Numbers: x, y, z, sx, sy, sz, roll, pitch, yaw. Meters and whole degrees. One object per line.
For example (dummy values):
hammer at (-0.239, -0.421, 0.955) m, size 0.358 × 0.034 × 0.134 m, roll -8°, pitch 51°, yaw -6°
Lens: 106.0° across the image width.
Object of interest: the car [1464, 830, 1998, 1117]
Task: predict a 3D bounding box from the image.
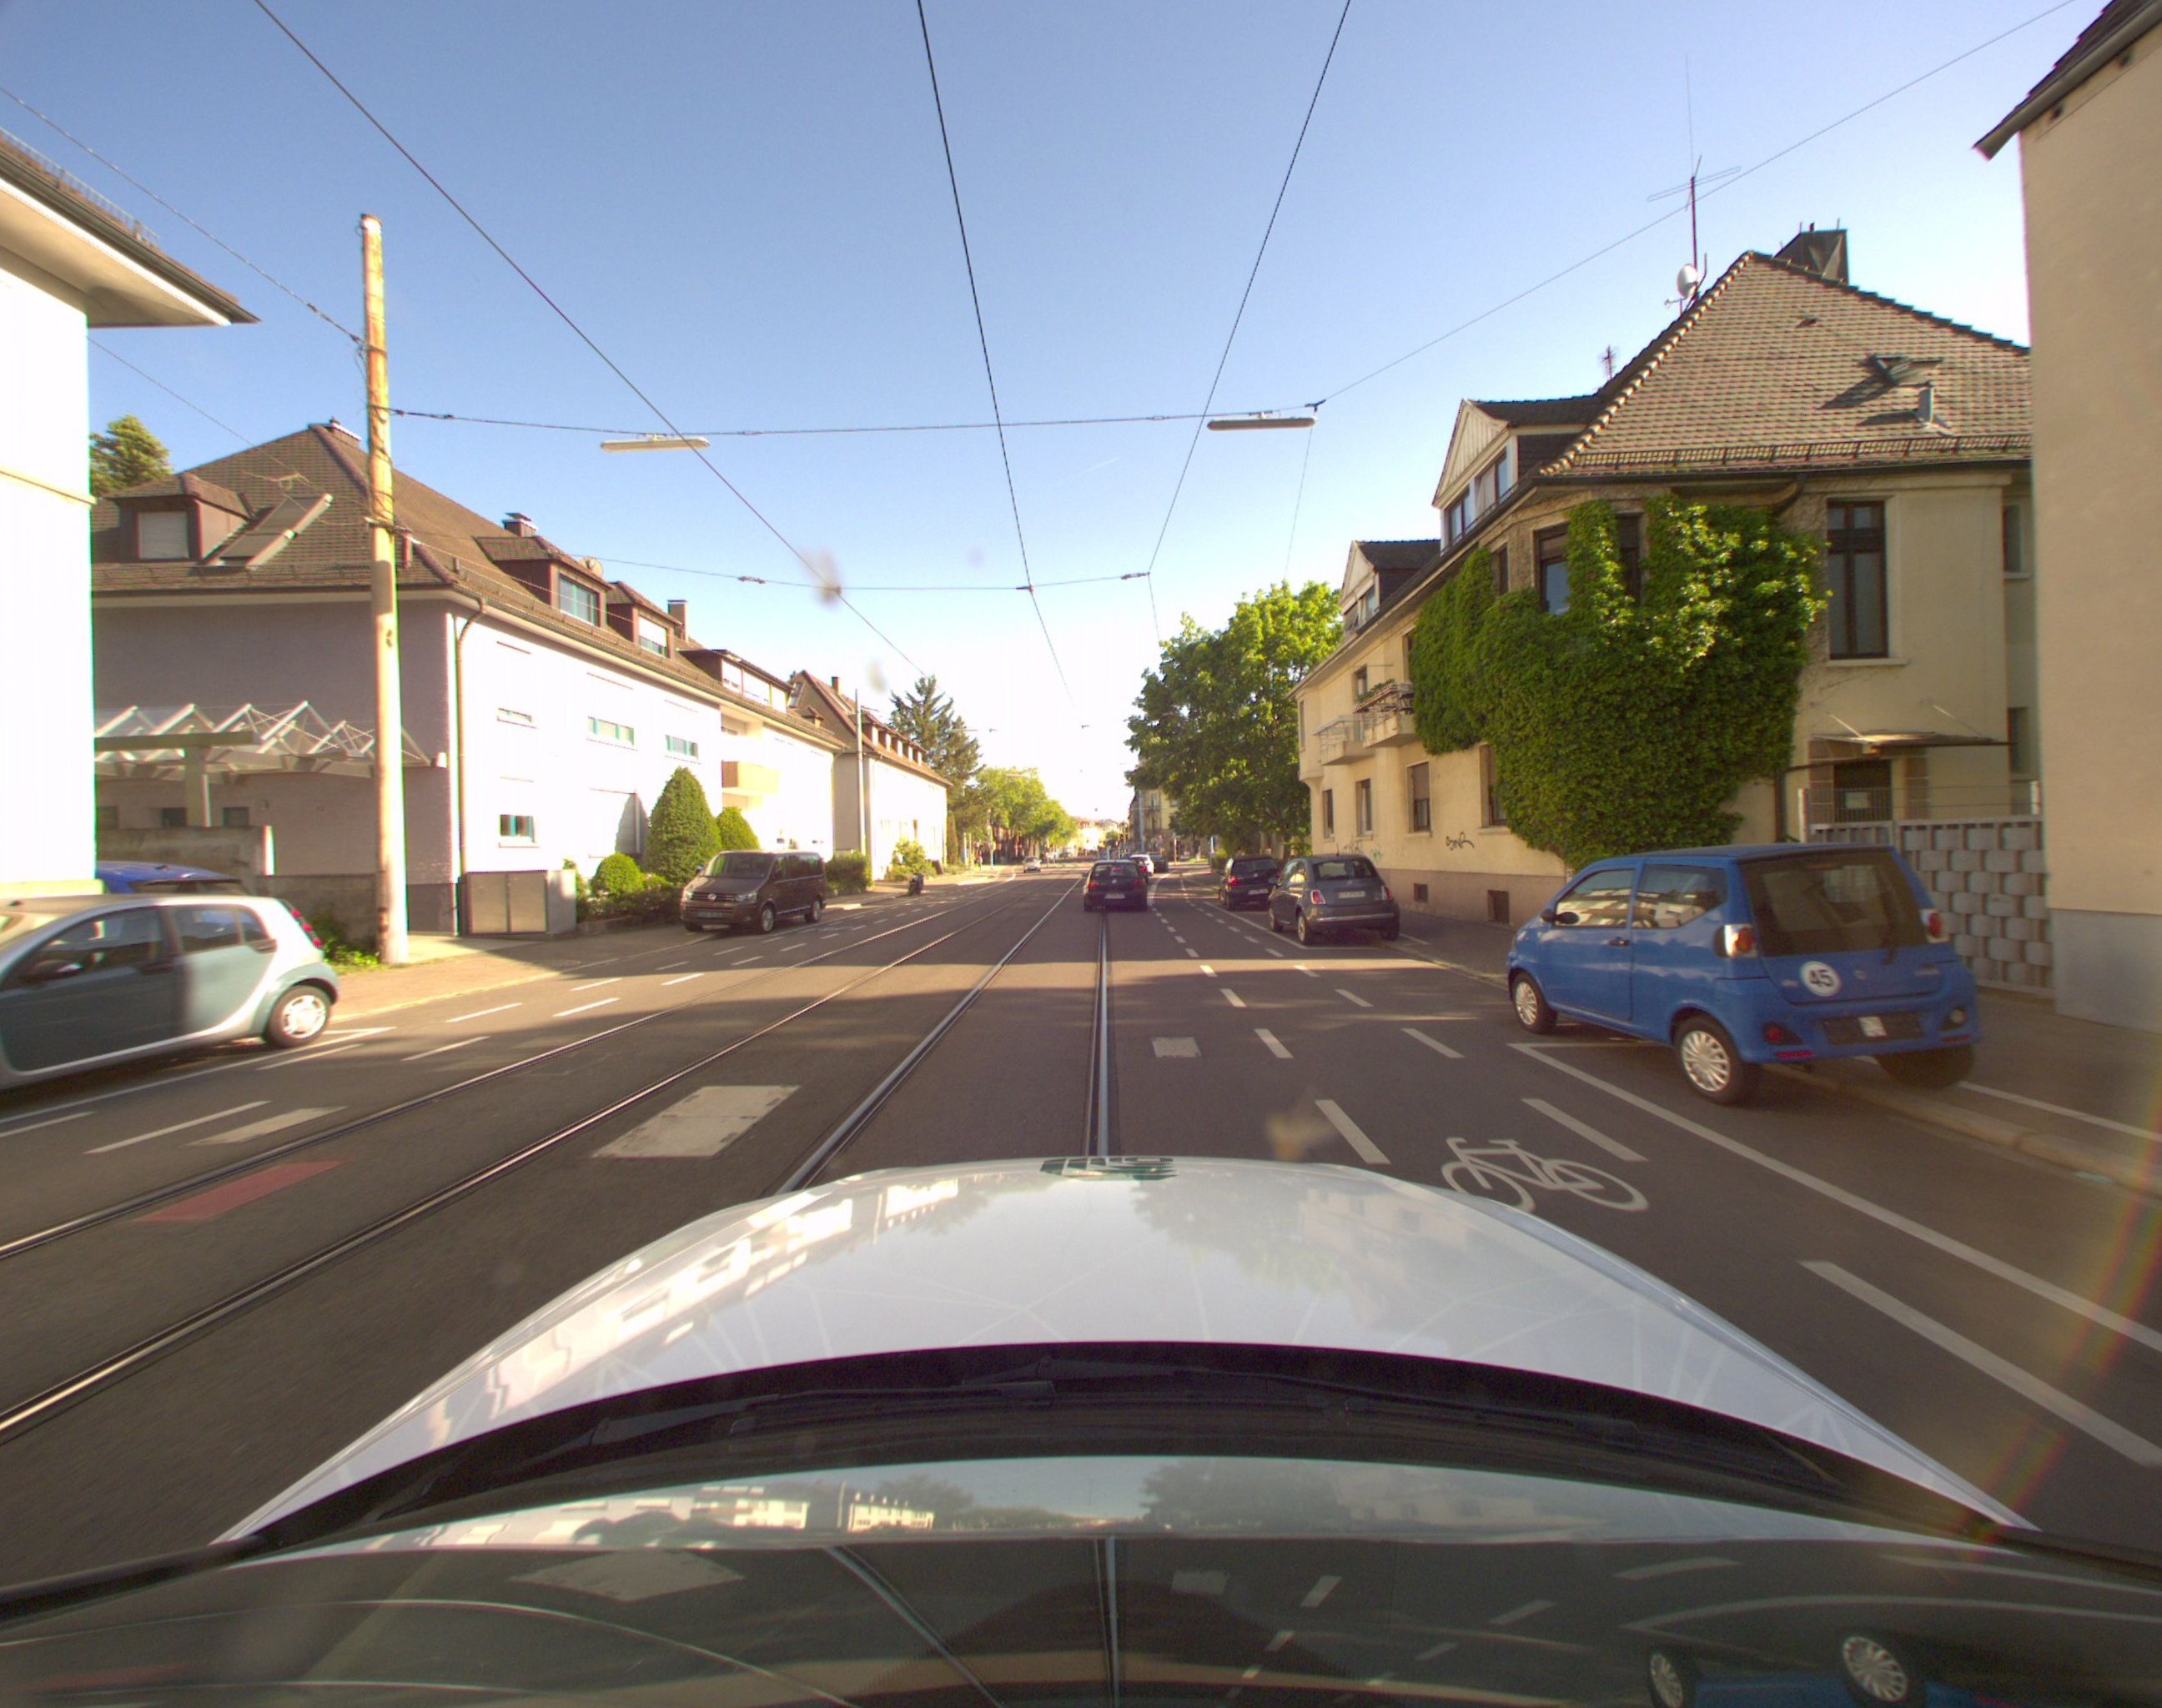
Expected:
car at (4.419, 0.660, 6.206) m, size 1.452 × 1.599 × 3.293 m, roll 0°, pitch 0°, yaw 0°

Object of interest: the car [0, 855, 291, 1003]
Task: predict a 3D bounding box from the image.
car at (-13.613, 0.977, 11.083) m, size 3.913 × 1.783 × 1.754 m, roll -2°, pitch 0°, yaw -1°

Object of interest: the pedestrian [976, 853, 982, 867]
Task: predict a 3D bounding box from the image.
pedestrian at (-12.878, 0.779, 102.930) m, size 0.610 × 1.689 × 0.729 m, roll 1°, pitch 0°, yaw -17°

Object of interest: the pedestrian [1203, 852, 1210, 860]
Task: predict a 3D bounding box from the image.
pedestrian at (19.437, 0.324, 126.494) m, size 0.976 × 1.187 × 0.743 m, roll -2°, pitch 0°, yaw 1°

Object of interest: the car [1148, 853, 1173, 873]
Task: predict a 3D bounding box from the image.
car at (6.146, 0.689, 63.353) m, size 1.565 × 1.311 × 3.646 m, roll -2°, pitch 2°, yaw -1°

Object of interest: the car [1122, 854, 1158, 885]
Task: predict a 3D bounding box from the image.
car at (2.902, 0.736, 40.565) m, size 1.628 × 1.372 × 3.759 m, roll -2°, pitch 0°, yaw 2°

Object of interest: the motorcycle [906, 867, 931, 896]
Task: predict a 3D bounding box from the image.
motorcycle at (-7.180, 1.201, 36.123) m, size 0.534 × 1.162 × 2.173 m, roll -3°, pitch 0°, yaw 2°

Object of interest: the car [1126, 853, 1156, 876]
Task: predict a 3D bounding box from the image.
car at (4.078, 0.701, 54.970) m, size 1.730 × 1.441 × 3.819 m, roll -2°, pitch 0°, yaw 9°

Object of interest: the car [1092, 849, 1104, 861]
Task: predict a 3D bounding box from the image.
car at (2.733, 0.120, 129.120) m, size 1.781 × 1.860 × 4.000 m, roll 1°, pitch 0°, yaw 0°

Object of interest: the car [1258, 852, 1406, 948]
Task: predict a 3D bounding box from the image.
car at (4.402, 0.731, 14.808) m, size 1.596 × 1.525 × 3.548 m, roll 0°, pitch 0°, yaw 0°

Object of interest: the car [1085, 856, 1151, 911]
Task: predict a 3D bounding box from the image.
car at (1.025, 0.772, 23.123) m, size 1.709 × 1.402 × 4.008 m, roll 0°, pitch 0°, yaw 2°

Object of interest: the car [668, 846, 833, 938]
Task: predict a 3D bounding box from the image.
car at (-8.046, 0.826, 20.436) m, size 1.898 × 2.014 × 4.952 m, roll 0°, pitch 0°, yaw 3°

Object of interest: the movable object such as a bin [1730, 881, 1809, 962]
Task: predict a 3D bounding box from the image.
movable object such as a bin at (8.261, 0.801, 9.783) m, size 0.491 × 0.916 × 0.514 m, roll -2°, pitch 0°, yaw -1°

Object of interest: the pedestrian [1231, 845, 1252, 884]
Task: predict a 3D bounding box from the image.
pedestrian at (7.265, 0.462, 36.882) m, size 0.715 × 1.688 × 0.870 m, roll -3°, pitch 0°, yaw 0°

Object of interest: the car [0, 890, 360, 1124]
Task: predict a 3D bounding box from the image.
car at (-8.197, 1.107, 6.338) m, size 1.670 × 1.477 × 3.837 m, roll 0°, pitch 0°, yaw 2°

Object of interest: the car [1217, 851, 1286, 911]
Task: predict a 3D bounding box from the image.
car at (4.814, 0.721, 23.404) m, size 1.656 × 1.564 × 3.779 m, roll 0°, pitch 0°, yaw 8°

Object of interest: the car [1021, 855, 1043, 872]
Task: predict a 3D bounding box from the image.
car at (-4.298, 0.827, 72.473) m, size 1.569 × 1.477 × 3.442 m, roll -3°, pitch 0°, yaw 2°

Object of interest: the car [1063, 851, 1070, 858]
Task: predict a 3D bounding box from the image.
car at (-4.214, 0.128, 242.525) m, size 1.967 × 1.815 × 4.292 m, roll -2°, pitch 0°, yaw -3°
